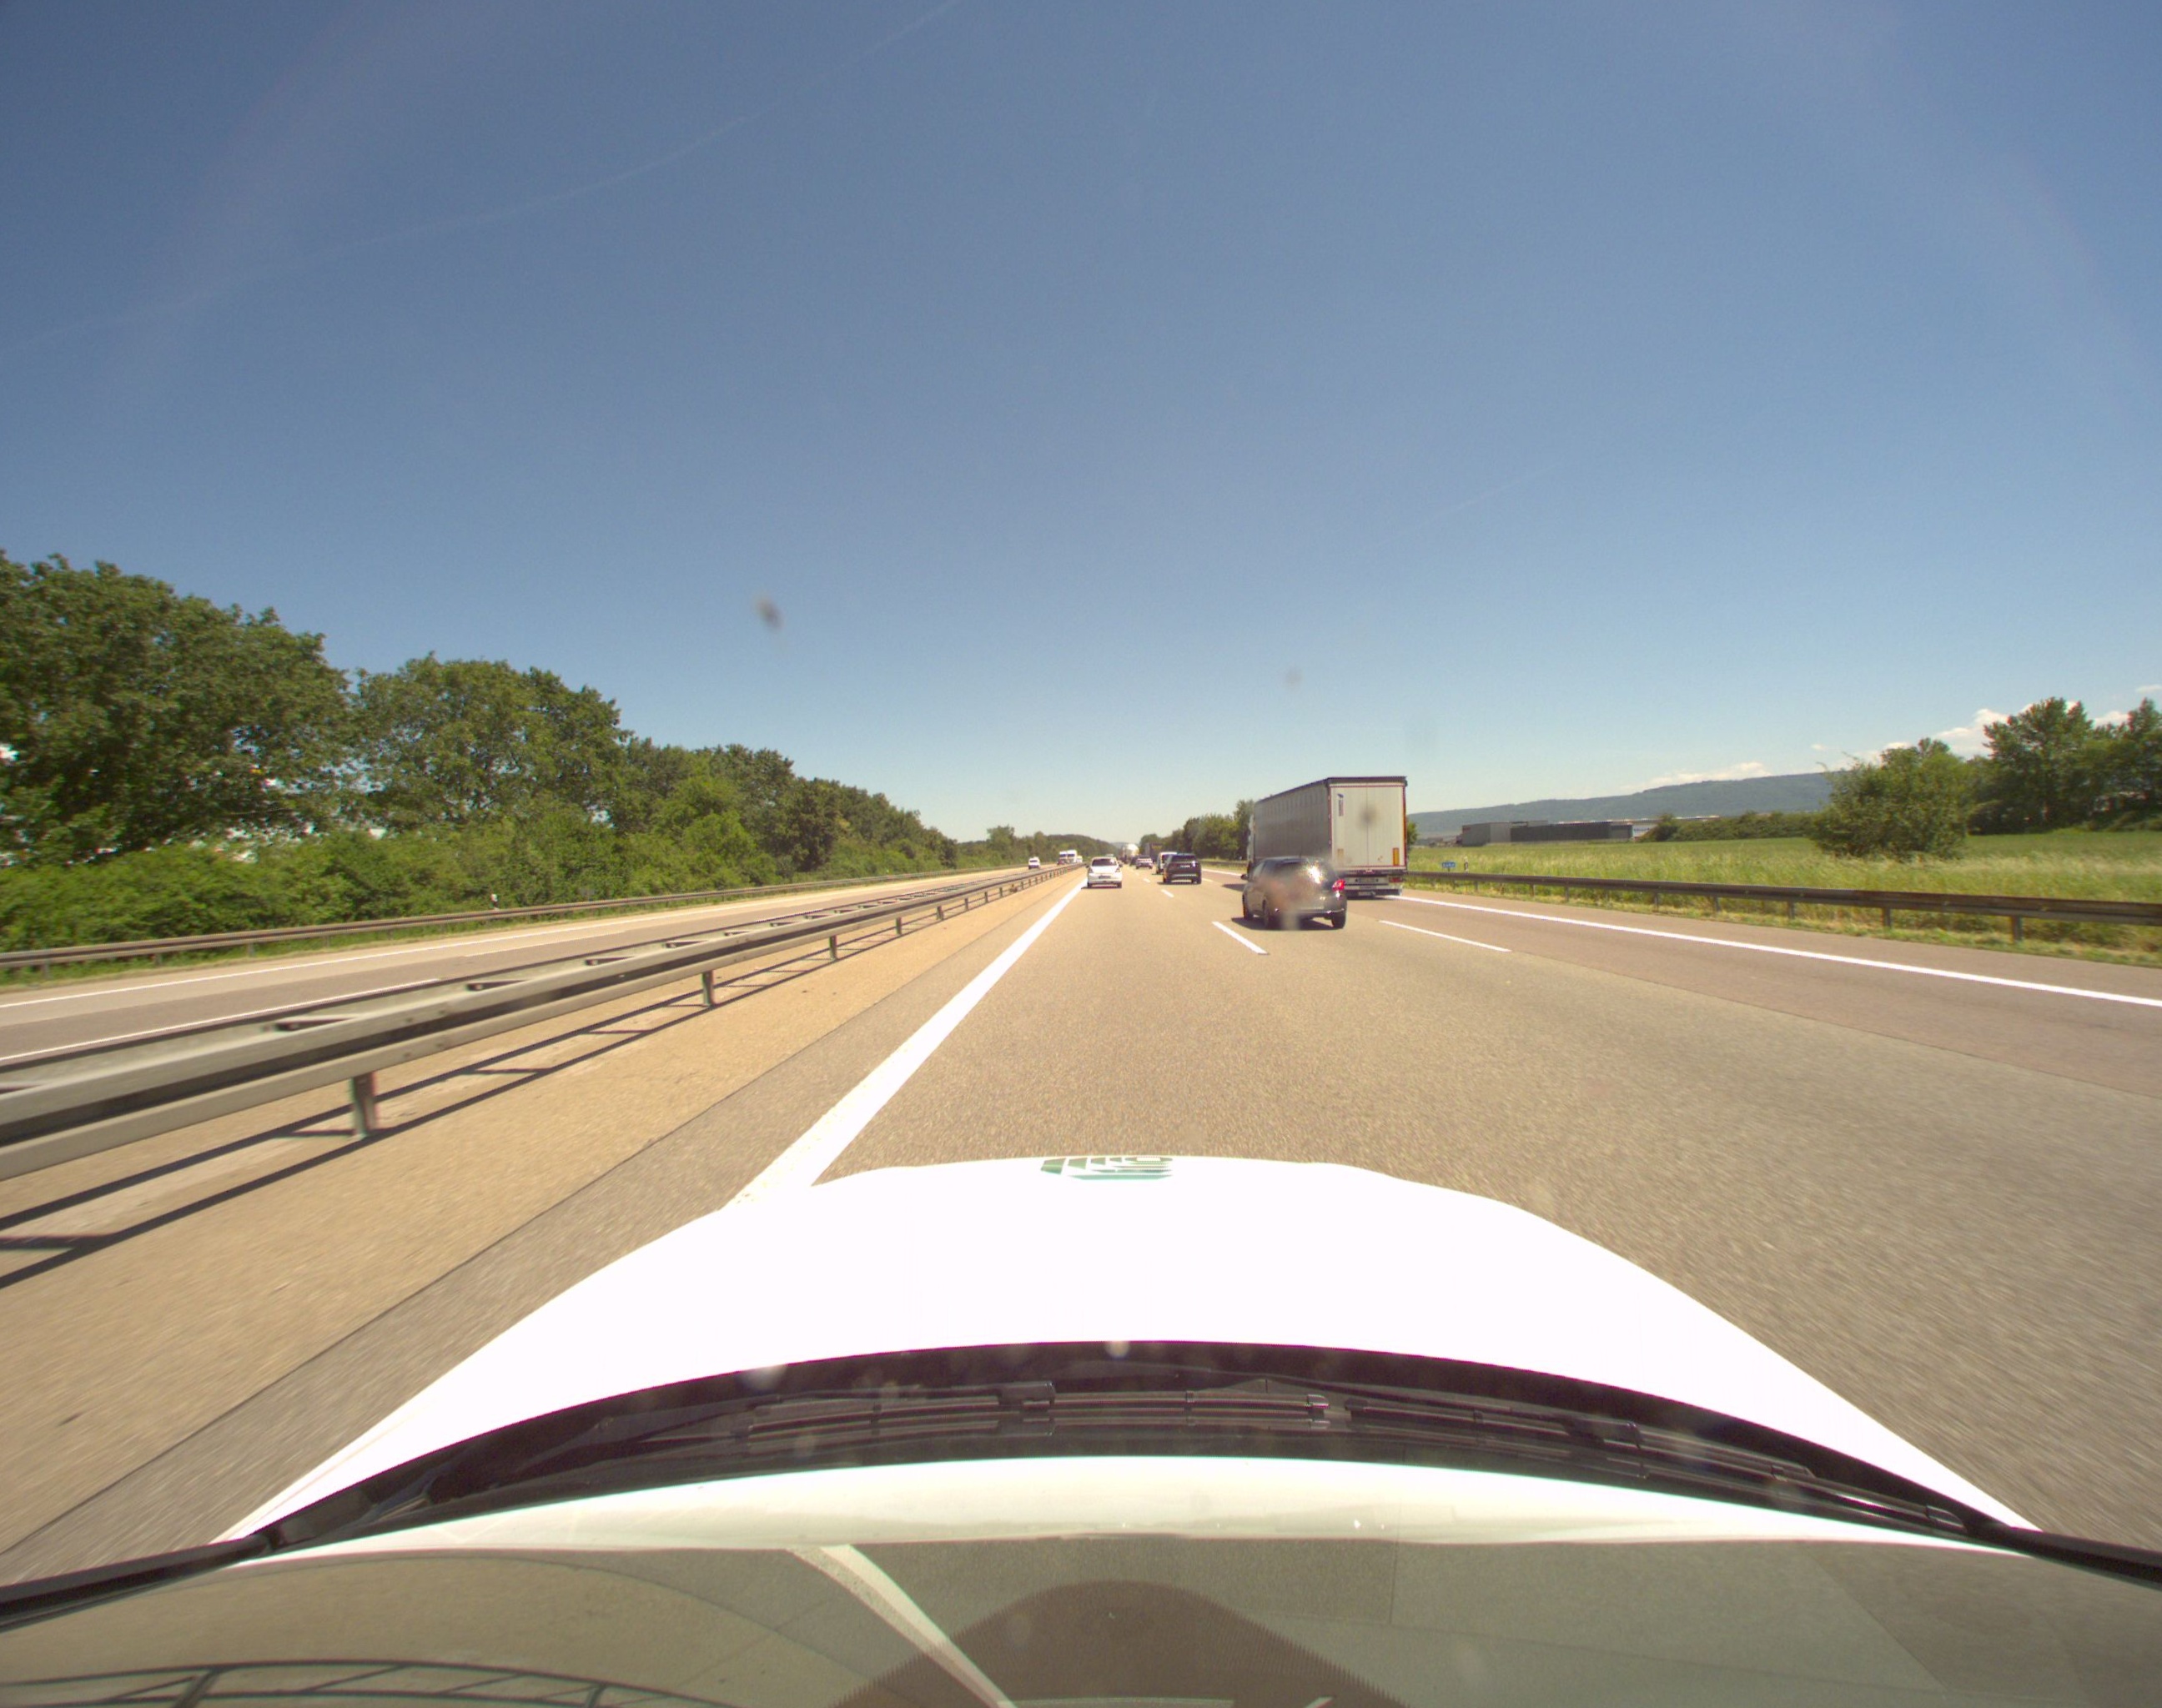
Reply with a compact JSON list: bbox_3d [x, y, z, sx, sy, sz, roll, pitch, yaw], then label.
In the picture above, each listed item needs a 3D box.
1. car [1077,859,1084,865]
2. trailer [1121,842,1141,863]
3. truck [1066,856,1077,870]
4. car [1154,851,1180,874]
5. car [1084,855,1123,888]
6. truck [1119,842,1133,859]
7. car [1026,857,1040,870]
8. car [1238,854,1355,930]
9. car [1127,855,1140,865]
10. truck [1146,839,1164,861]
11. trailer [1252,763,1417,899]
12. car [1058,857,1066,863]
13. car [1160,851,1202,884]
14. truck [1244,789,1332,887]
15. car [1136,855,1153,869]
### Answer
[{"bbox_3d":[-0.243,2.163,226.012,1.713,1.422,3.898,-4,-1,1],"label":"car"},{"bbox_3d":[9.766,-0.206,160.120,2.903,4.069,12.412,0,0,-1],"label":"trailer"},{"bbox_3d":[-2.926,2.692,253.464,2.728,4.085,6.222,-3,-1,3],"label":"truck"},{"bbox_3d":[7.157,0.706,68.167,1.846,1.863,4.703,0,0,1],"label":"car"},{"bbox_3d":[1.122,0.863,40.405,1.792,1.552,3.611,0,0,2],"label":"car"},{"bbox_3d":[11.166,-0.815,201.725,3.380,4.214,12.093,0,0,3],"label":"truck"},{"bbox_3d":[-7.984,1.516,135.382,1.781,2.013,4.383,-4,-1,3],"label":"car"},{"bbox_3d":[4.569,0.762,17.747,1.681,1.473,3.433,0,0,1],"label":"car"},{"bbox_3d":[8.044,0.881,124.610,1.843,1.523,3.959,0,0,2],"label":"car"},{"bbox_3d":[14.486,-0.717,160.133,3.096,4.139,15.523,0,0,3],"label":"truck"},{"bbox_3d":[9.553,-0.687,33.043,2.799,4.304,14.262,0,0,2],"label":"trailer"},{"bbox_3d":[-4.688,1.567,205.857,1.766,1.417,4.111,-4,0,1],"label":"car"},{"bbox_3d":[5.475,0.725,44.980,1.860,1.675,4.747,0,0,2],"label":"car"},{"bbox_3d":[9.827,-0.666,39.458,2.798,4.304,7.198,0,-1,3],"label":"truck"},{"bbox_3d":[7.536,0.950,96.739,1.795,1.603,4.383,0,0,2],"label":"car"}]
